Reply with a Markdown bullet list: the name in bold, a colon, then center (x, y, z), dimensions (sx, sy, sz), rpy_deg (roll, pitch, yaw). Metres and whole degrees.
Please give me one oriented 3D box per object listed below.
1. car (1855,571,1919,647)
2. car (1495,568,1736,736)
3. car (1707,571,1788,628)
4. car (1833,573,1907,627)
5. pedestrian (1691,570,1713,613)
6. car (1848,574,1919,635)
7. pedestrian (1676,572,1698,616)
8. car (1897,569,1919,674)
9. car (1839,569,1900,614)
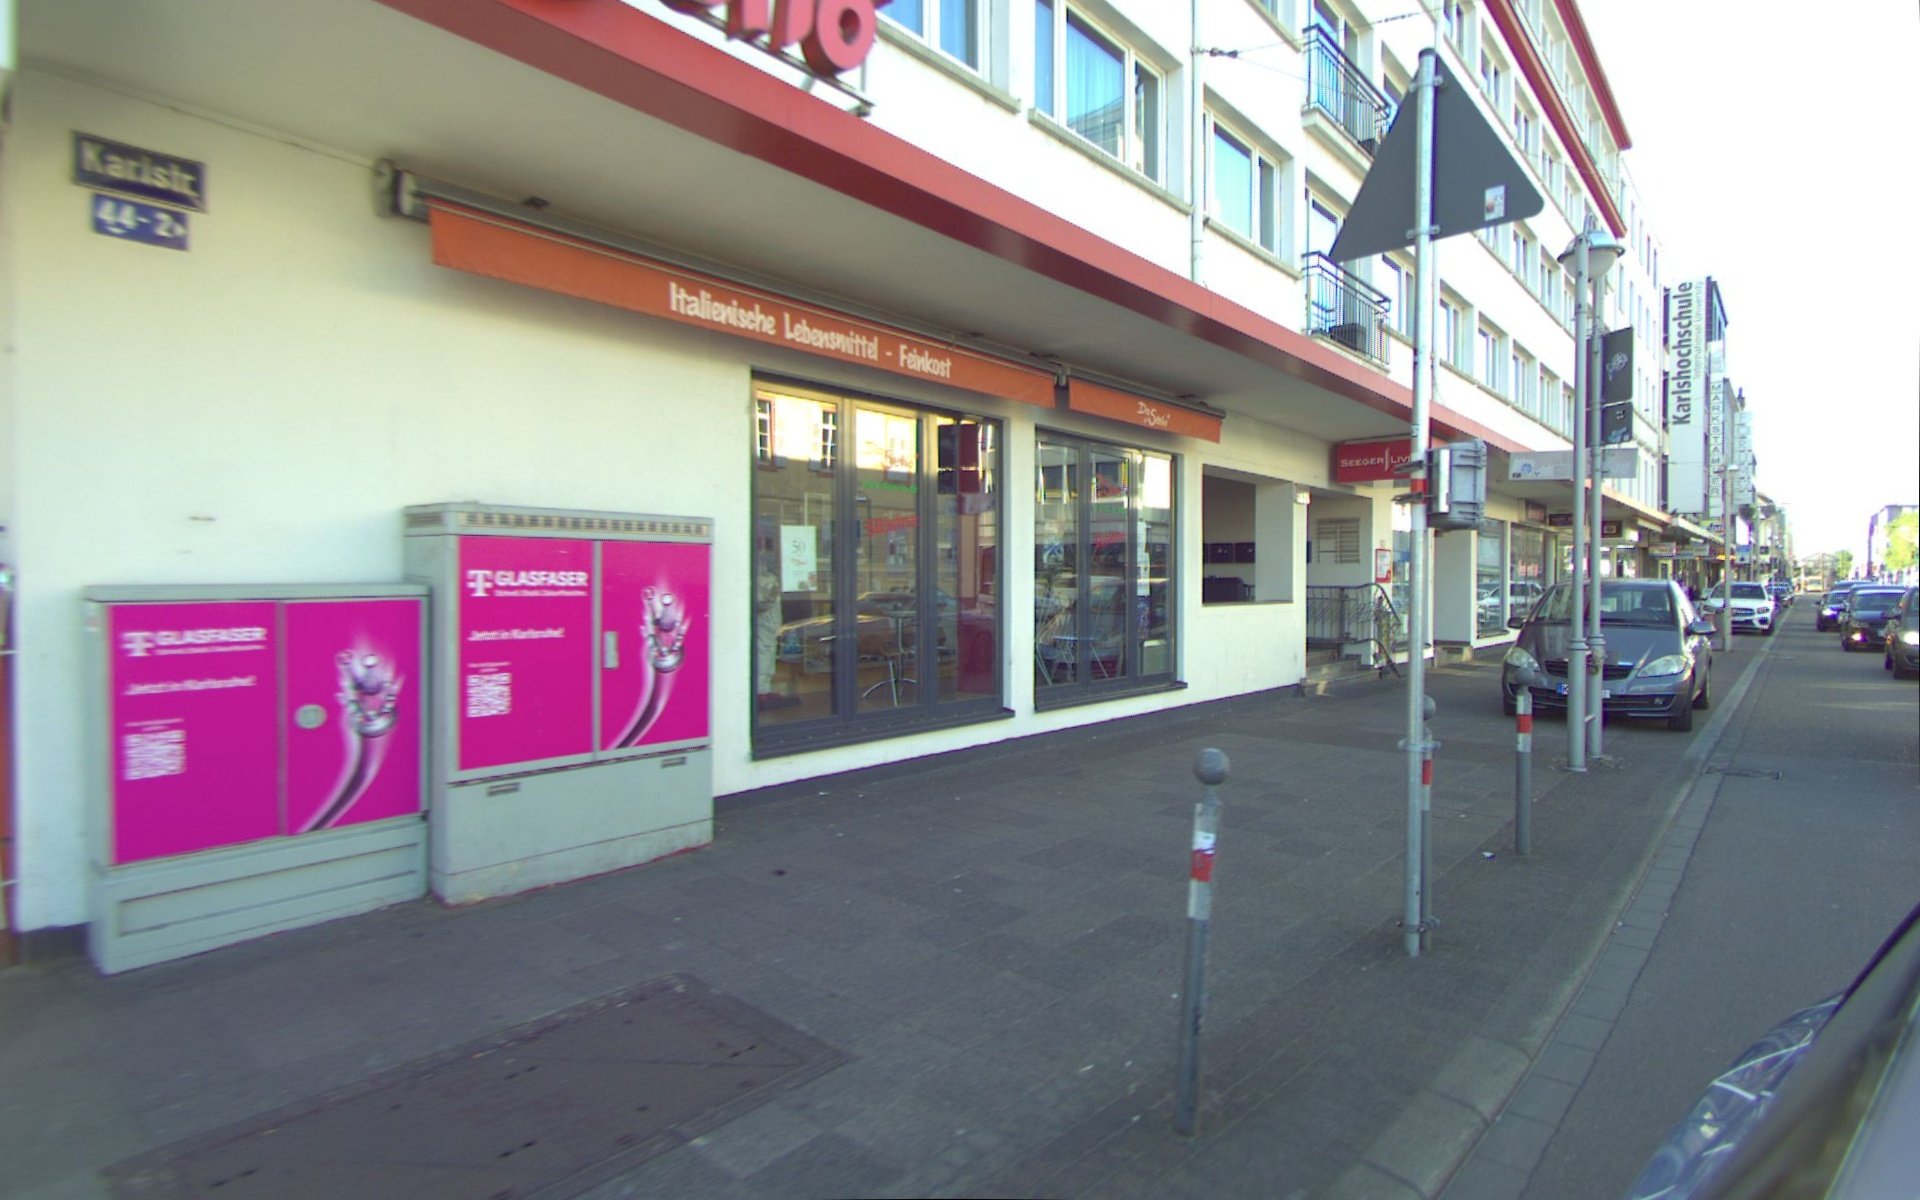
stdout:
- **car**: center (22.674, 0.168, 24.251), dimensions (1.777, 1.683, 3.902), rpy_deg (2, 3, 41)
- **car**: center (7.714, 0.432, 11.753), dimensions (1.776, 1.588, 3.902), rpy_deg (2, 3, 41)
- **car**: center (25.319, -0.077, 32.479), dimensions (1.777, 1.683, 4.101), rpy_deg (2, 3, 41)
- **car**: center (30.706, -0.047, 34.211), dimensions (1.732, 1.683, 3.725), rpy_deg (2, 3, 41)
- **pedestrian**: center (31.858, -0.378, 43.464), dimensions (0.735, 1.840, 0.738), rpy_deg (0, 1, 39)
- **car**: center (28.150, 0.071, 30.718), dimensions (1.732, 1.683, 3.902), rpy_deg (2, 3, 41)
- **pedestrian**: center (30.490, -0.260, 42.453), dimensions (0.703, 1.840, 0.796), rpy_deg (0, 1, 39)
- **car**: center (17.303, 0.324, 17.292), dimensions (1.732, 1.683, 3.902), rpy_deg (2, 3, 41)
- **car**: center (37.210, -0.394, 41.469), dimensions (1.732, 1.683, 3.902), rpy_deg (2, 3, 41)
